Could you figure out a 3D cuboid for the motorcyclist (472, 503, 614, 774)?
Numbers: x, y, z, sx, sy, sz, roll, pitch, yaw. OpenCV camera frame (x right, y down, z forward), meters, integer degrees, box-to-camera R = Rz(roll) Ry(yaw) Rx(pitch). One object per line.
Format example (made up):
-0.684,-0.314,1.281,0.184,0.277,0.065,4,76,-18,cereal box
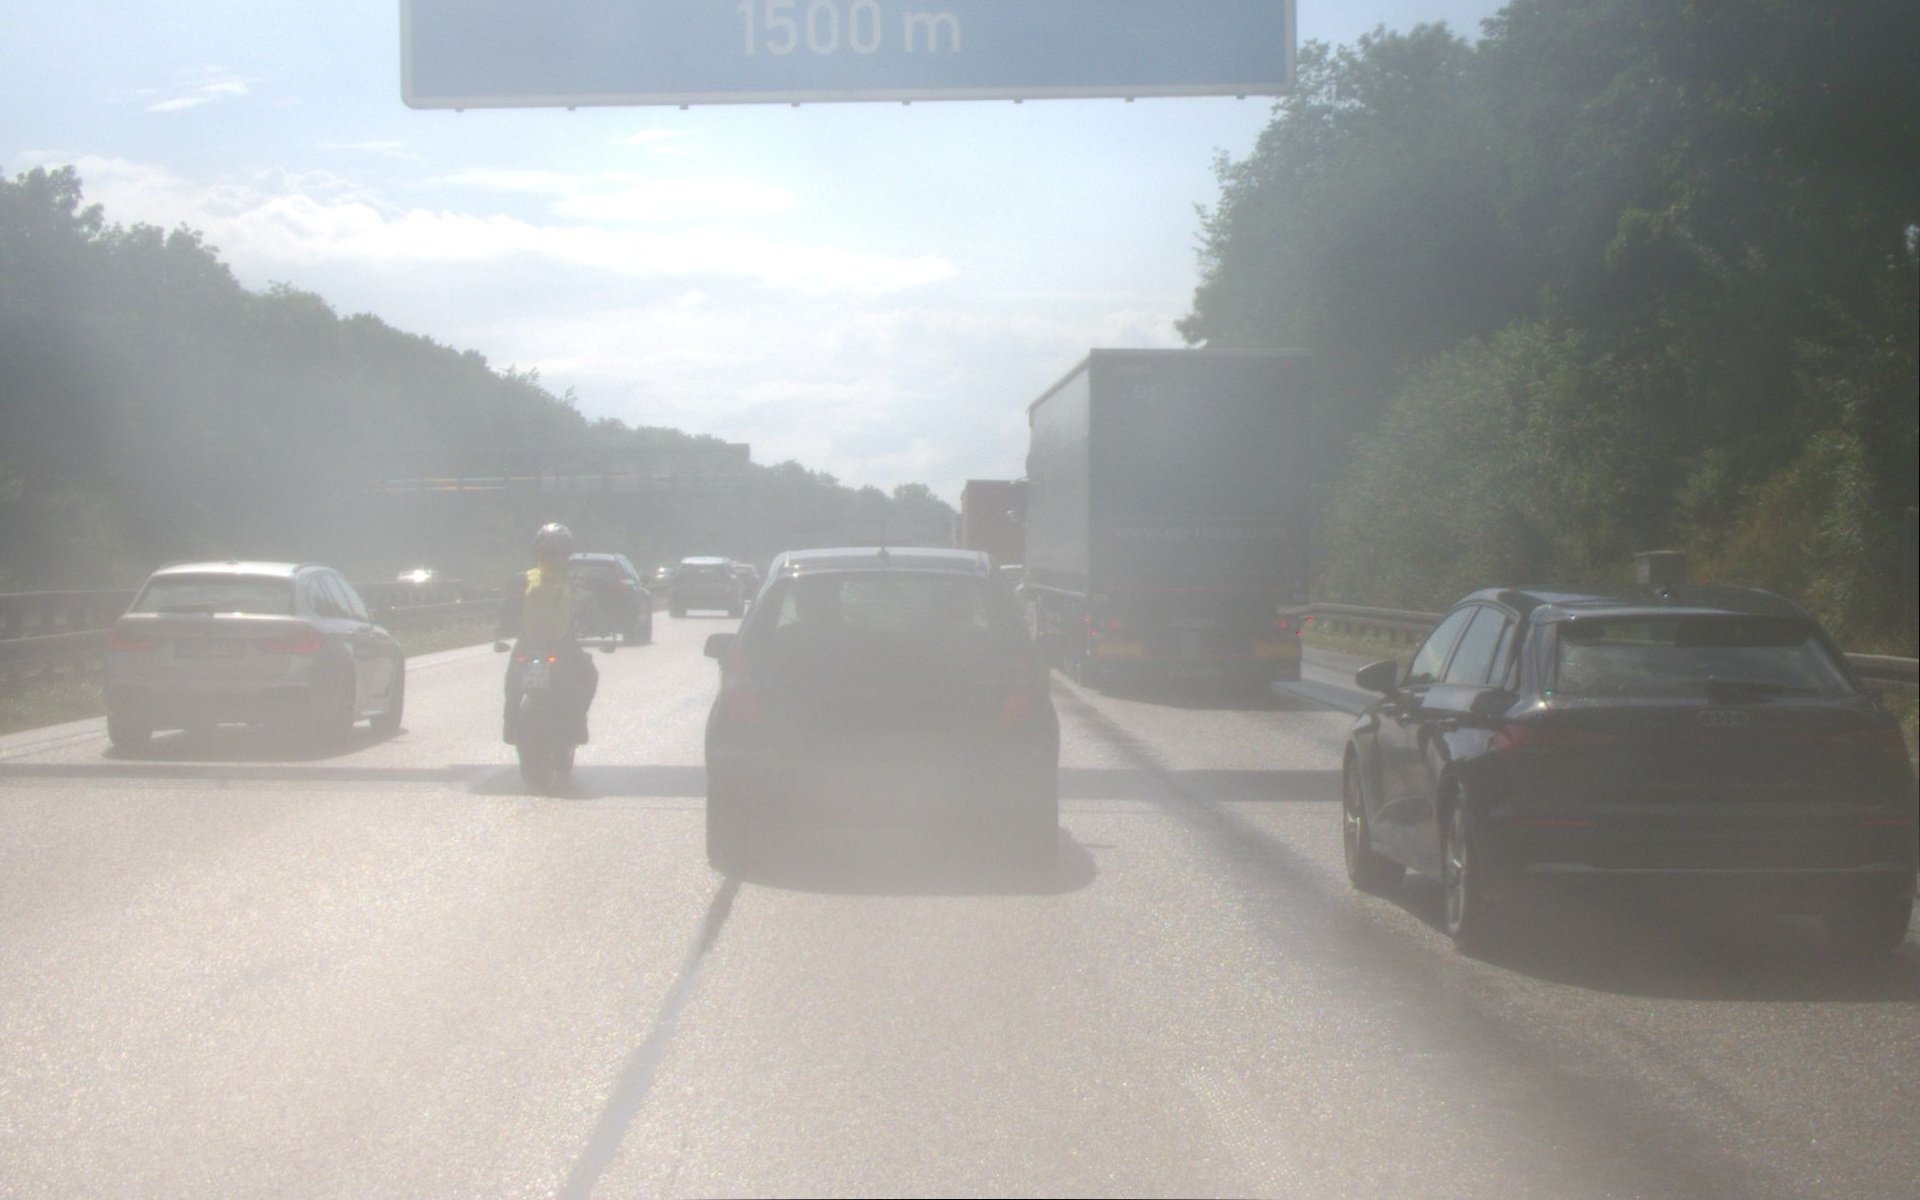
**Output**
-2.784,0.244,23.062,0.821,1.755,1.390,1,0,-2,motorcyclist

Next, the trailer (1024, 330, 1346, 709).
2.698,-0.992,46.283,3.088,4.298,14.106,0,1,-1,trailer

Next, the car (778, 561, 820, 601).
-8.076,-0.951,172.400,1.993,2.007,4.000,1,0,-1,car

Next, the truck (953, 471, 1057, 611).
1.409,-1.915,113.454,3.202,4.389,9.432,0,1,0,truck

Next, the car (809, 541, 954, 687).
-1.150,0.187,50.001,1.993,2.007,4.000,1,0,-2,car

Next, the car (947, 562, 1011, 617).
0.499,-0.311,95.418,1.675,1.485,3.437,0,1,-1,car

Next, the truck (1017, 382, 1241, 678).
2.533,-1.092,53.559,3.052,4.310,5.887,1,1,-1,truck

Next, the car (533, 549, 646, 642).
-6.704,-0.100,62.485,1.892,1.622,4.195,0,1,-4,car

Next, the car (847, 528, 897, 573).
-2.951,-1.649,115.354,1.631,1.485,3.437,0,1,-1,car

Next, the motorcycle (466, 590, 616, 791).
-2.789,0.575,23.075,0.819,1.258,2.118,1,1,-2,motorcycle

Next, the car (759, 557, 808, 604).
-7.659,-0.837,149.590,1.993,2.007,4.000,1,0,-1,car

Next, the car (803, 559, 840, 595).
-7.855,-1.304,194.905,1.993,2.007,4.000,1,0,-1,car

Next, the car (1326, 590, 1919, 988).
2.708,0.675,14.554,1.755,1.391,4.368,0,1,-1,car

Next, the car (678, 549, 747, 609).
-6.638,-0.574,92.373,1.675,1.591,3.437,0,1,-1,car

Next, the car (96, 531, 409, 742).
-5.702,0.254,28.191,1.758,1.589,4.331,0,1,-1,car

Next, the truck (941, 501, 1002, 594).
0.547,-2.692,180.558,2.882,4.671,12.659,1,0,-1,truck

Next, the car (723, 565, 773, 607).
-7.673,-0.531,124.466,1.675,1.485,3.437,0,1,-1,car

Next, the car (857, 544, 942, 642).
-1.236,-0.153,70.021,1.675,1.929,3.773,0,1,-1,car

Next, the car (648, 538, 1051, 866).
-0.573,0.465,18.581,1.915,1.560,4.314,0,1,-1,car
